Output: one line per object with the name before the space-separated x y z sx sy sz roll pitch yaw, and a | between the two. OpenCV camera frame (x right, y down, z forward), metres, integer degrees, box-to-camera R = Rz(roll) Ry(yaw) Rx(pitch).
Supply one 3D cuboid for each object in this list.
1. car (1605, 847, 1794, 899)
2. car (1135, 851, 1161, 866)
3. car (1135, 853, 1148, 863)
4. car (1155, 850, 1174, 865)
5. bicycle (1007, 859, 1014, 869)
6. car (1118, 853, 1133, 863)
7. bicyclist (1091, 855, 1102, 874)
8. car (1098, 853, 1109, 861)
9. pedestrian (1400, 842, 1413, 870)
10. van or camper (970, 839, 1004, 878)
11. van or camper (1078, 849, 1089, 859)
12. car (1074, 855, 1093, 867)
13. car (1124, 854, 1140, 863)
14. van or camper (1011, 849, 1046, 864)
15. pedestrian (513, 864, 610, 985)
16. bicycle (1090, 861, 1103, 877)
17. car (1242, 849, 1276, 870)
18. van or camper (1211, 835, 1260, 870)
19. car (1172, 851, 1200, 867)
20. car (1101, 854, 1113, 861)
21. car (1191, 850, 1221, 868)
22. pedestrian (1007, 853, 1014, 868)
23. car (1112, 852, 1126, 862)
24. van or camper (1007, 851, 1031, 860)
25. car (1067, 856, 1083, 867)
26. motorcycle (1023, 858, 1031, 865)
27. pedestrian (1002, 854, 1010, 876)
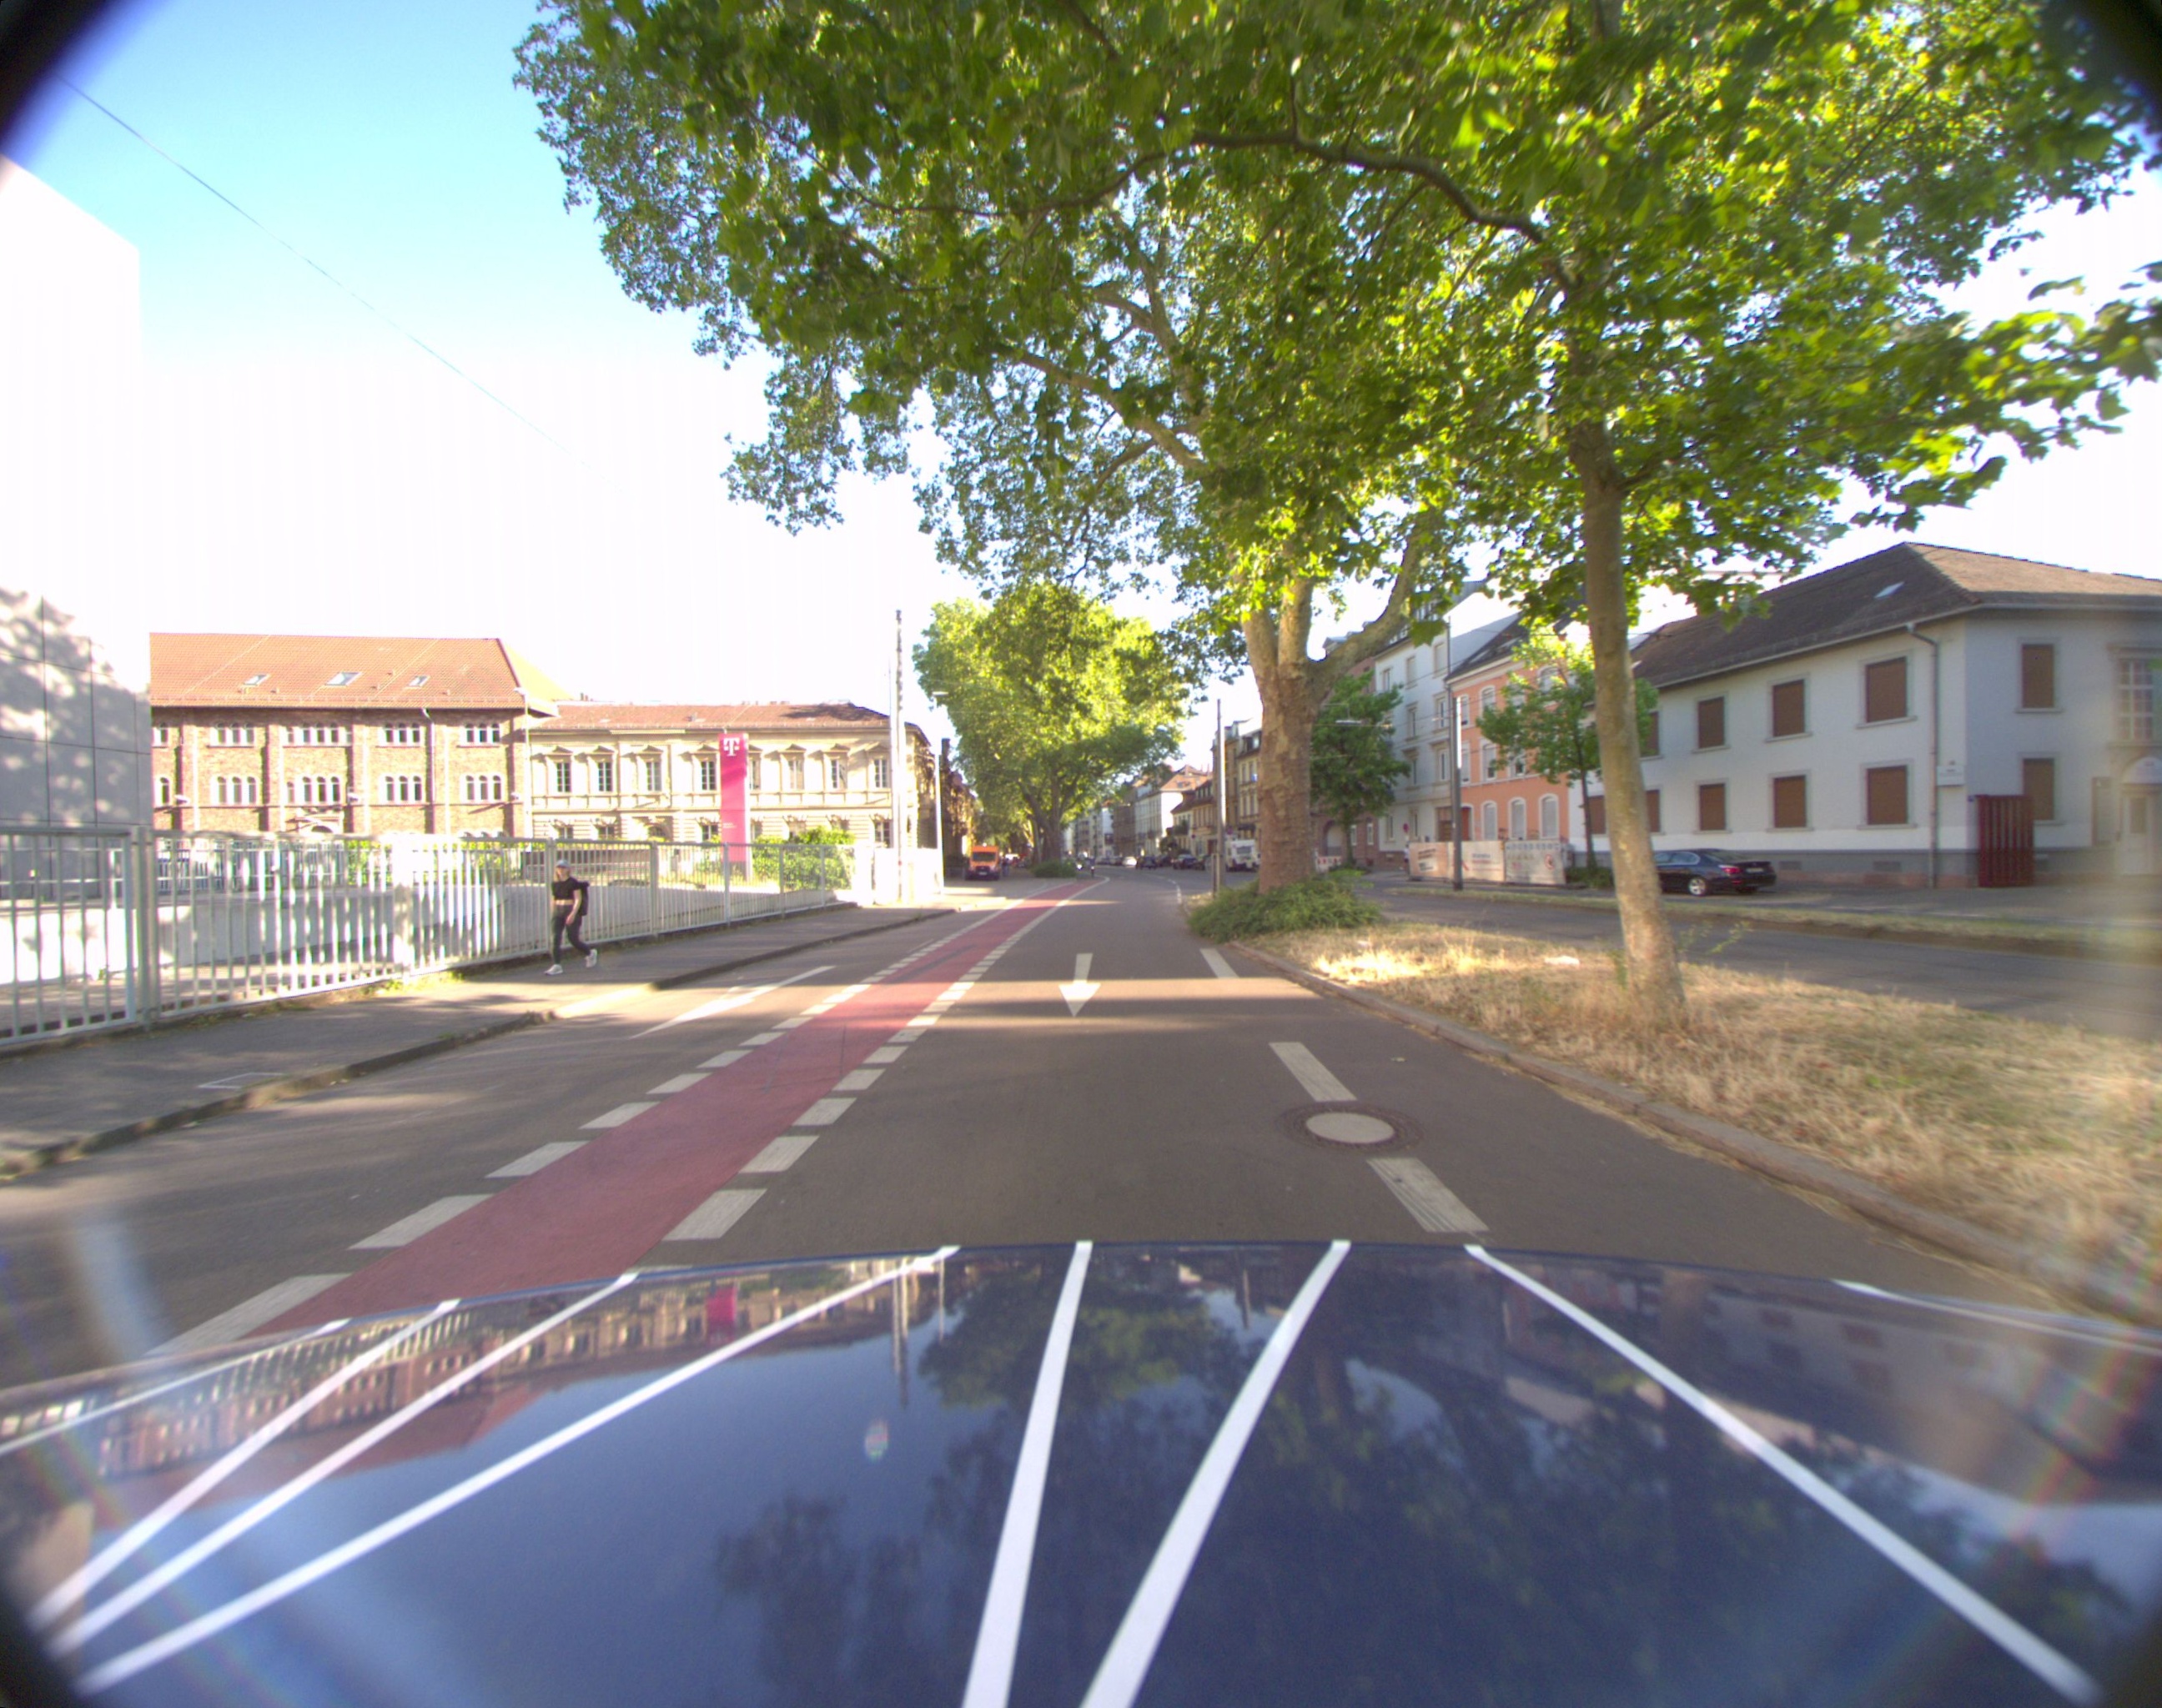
car | 19.898 0.557 24.764 2.000 1.505 4.722 -1 0 -7
car | 7.710 0.512 87.741 2.000 1.679 4.307 -1 0 -7
car | 9.187 0.622 115.808 1.422 1.502 3.324 -3 0 -3
car | 11.043 0.450 100.685 1.729 1.736 3.623 -4 1 -5
bicycle | -7.909 1.130 85.237 0.677 1.026 1.899 1 0 -7
car | 7.631 0.683 131.002 1.799 1.587 4.081 -3 0 -6
bicyclist | 1.158 0.768 56.288 0.715 1.435 0.953 -1 1 -5
car | 4.647 0.641 156.648 1.799 1.617 4.081 -3 0 -6
pedestrian | 20.920 0.139 48.839 0.600 1.807 0.481 -1 1 -6
van or camper | -6.612 0.312 53.933 2.041 2.544 5.771 -1 0 -4
van or camper | 0.608 0.006 192.615 1.946 2.267 4.595 -3 0 -6
car | 0.295 0.838 93.130 1.740 1.365 3.916 -3 0 -6
car | 8.441 0.748 126.034 1.869 1.423 4.081 -3 0 -6
van or camper | -9.348 0.491 134.764 5.931 2.484 2.218 -1 3 -8
pedestrian | -7.518 0.991 11.043 0.697 1.674 0.931 -1 1 4
bicycle | 1.173 1.085 56.237 0.715 1.131 2.119 -1 0 -5
car | 15.243 0.466 65.250 1.635 1.696 3.368 -4 1 -9
van or camper | 14.375 -0.142 71.437 2.426 2.930 7.247 -5 1 -4
car | 12.216 0.536 88.483 2.000 1.693 4.747 -5 1 -7
car | 5.211 0.702 151.379 1.799 1.368 4.081 -3 0 -6
car | 13.279 0.537 80.930 1.816 1.695 4.440 -5 1 -7
pedestrian | -7.911 0.719 85.218 0.672 1.610 1.101 1 1 -8
car | 6.742 0.587 136.365 1.799 1.630 4.252 -3 0 -6
van or camper | -15.790 0.383 194.558 6.102 2.417 2.427 -1 0 -6
car | -0.876 1.039 107.682 1.740 1.365 3.916 -3 0 -6
motorcycle | -8.116 1.095 114.478 1.274 1.048 0.394 -1 1 -42
pedestrian | -6.016 0.845 60.968 0.652 1.726 1.007 -1 1 -5
